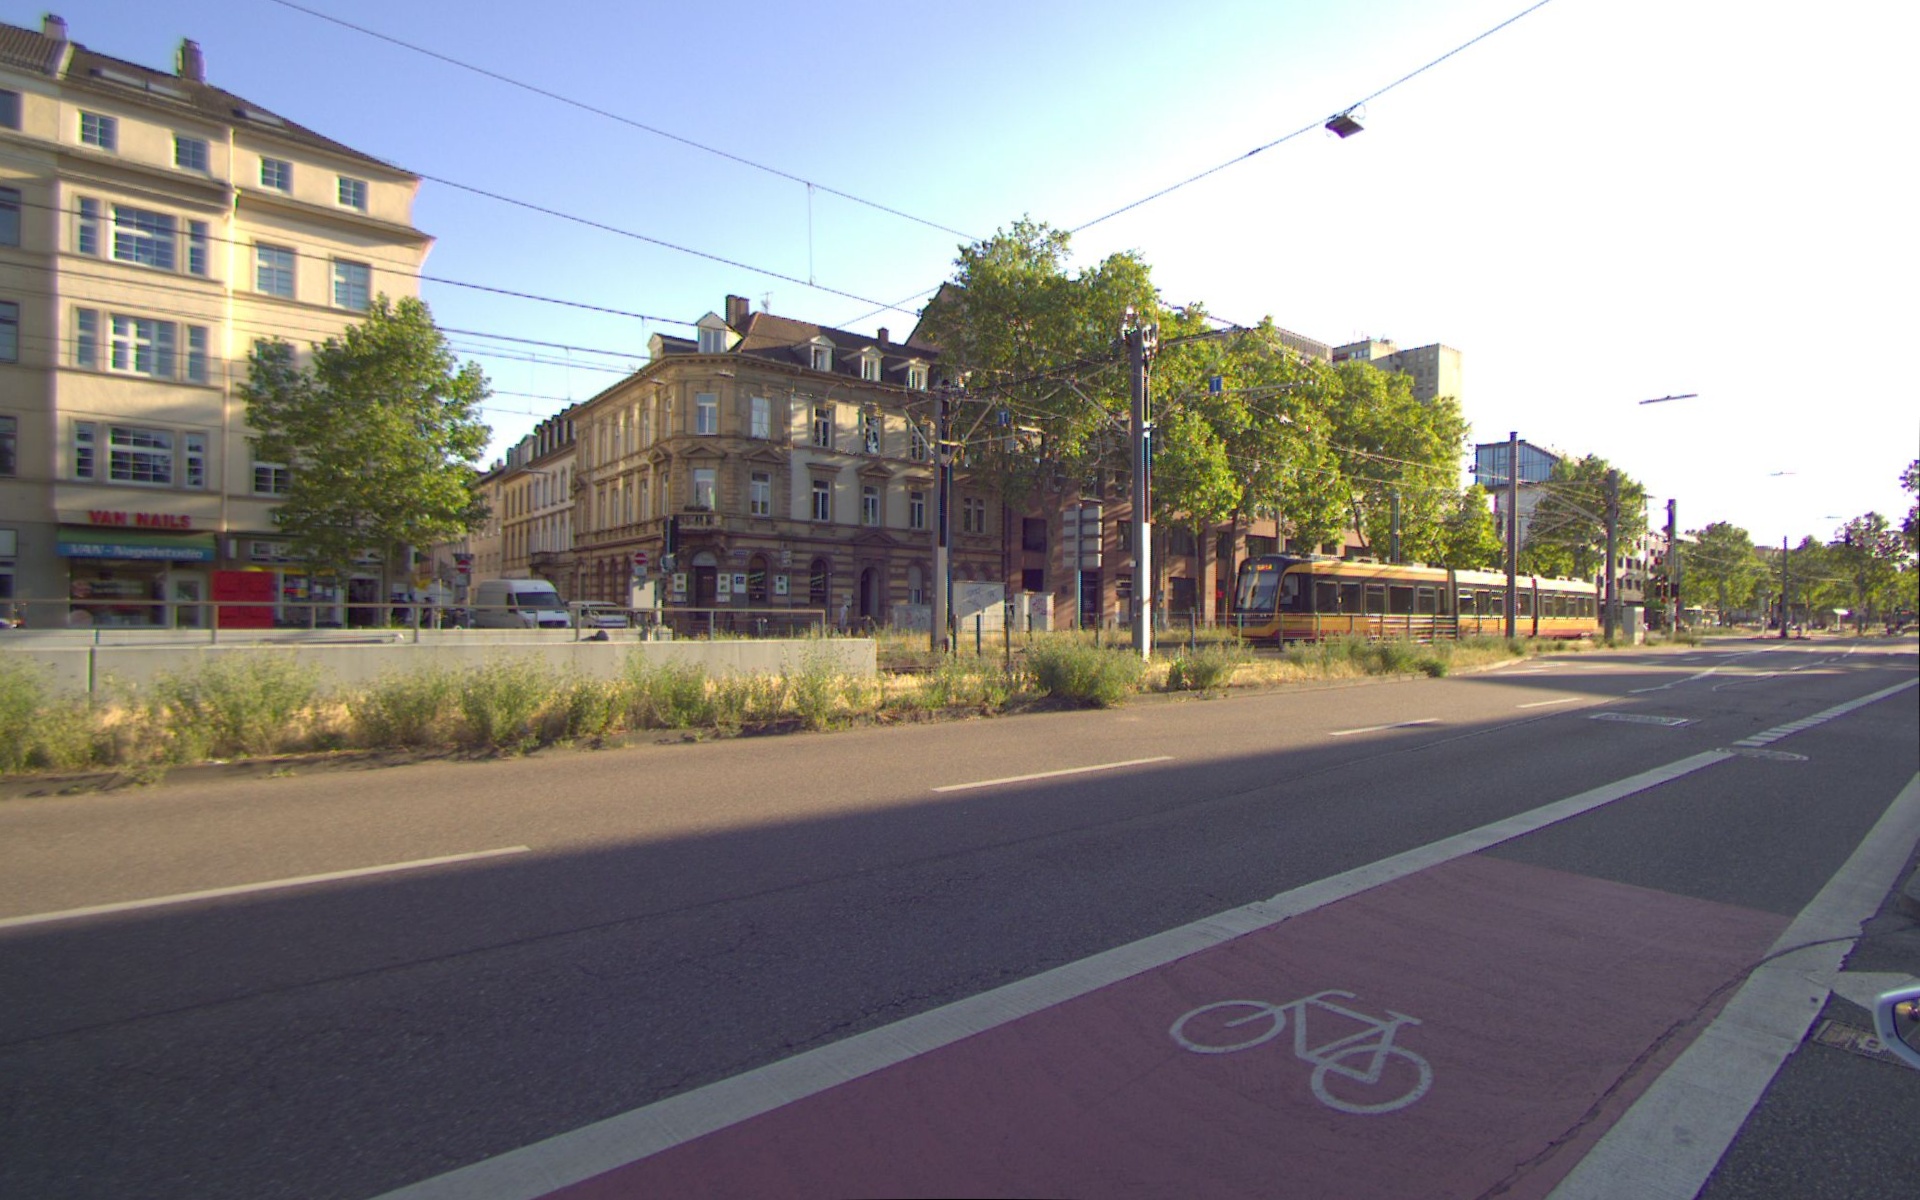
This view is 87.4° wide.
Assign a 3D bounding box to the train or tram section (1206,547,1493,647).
[{"bbox_3d":[17.192,0.075,42.805,17.324,3.606,3.088,1,-1,-39],"label":"train or tram section"}]

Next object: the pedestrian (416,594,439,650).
[{"bbox_3d":[-19.083,0.784,35.981,0.581,1.944,0.625,2,1,-38],"label":"pedestrian"}]

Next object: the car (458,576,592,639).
[{"bbox_3d":[-17.582,0.314,40.335,2.455,2.296,7.193,1,-1,-45],"label":"car"}]

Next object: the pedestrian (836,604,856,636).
[{"bbox_3d":[-5.716,0.996,50.411,0.686,1.583,0.697,1,0,-43],"label":"pedestrian"}]

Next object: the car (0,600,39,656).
[{"bbox_3d":[-25.442,0.671,24.922,3.679,1.350,1.442,2,1,-40],"label":"car"}]

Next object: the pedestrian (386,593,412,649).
[{"bbox_3d":[-19.976,0.743,35.754,0.623,1.944,0.583,3,1,42],"label":"pedestrian"}]

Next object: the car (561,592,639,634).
[{"bbox_3d":[-17.300,0.605,48.113,1.971,1.912,4.641,1,-1,-41],"label":"car"}]

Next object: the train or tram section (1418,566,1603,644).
[{"bbox_3d":[30.344,0.418,54.396,19.797,3.606,3.082,2,-1,-44],"label":"train or tram section"}]
